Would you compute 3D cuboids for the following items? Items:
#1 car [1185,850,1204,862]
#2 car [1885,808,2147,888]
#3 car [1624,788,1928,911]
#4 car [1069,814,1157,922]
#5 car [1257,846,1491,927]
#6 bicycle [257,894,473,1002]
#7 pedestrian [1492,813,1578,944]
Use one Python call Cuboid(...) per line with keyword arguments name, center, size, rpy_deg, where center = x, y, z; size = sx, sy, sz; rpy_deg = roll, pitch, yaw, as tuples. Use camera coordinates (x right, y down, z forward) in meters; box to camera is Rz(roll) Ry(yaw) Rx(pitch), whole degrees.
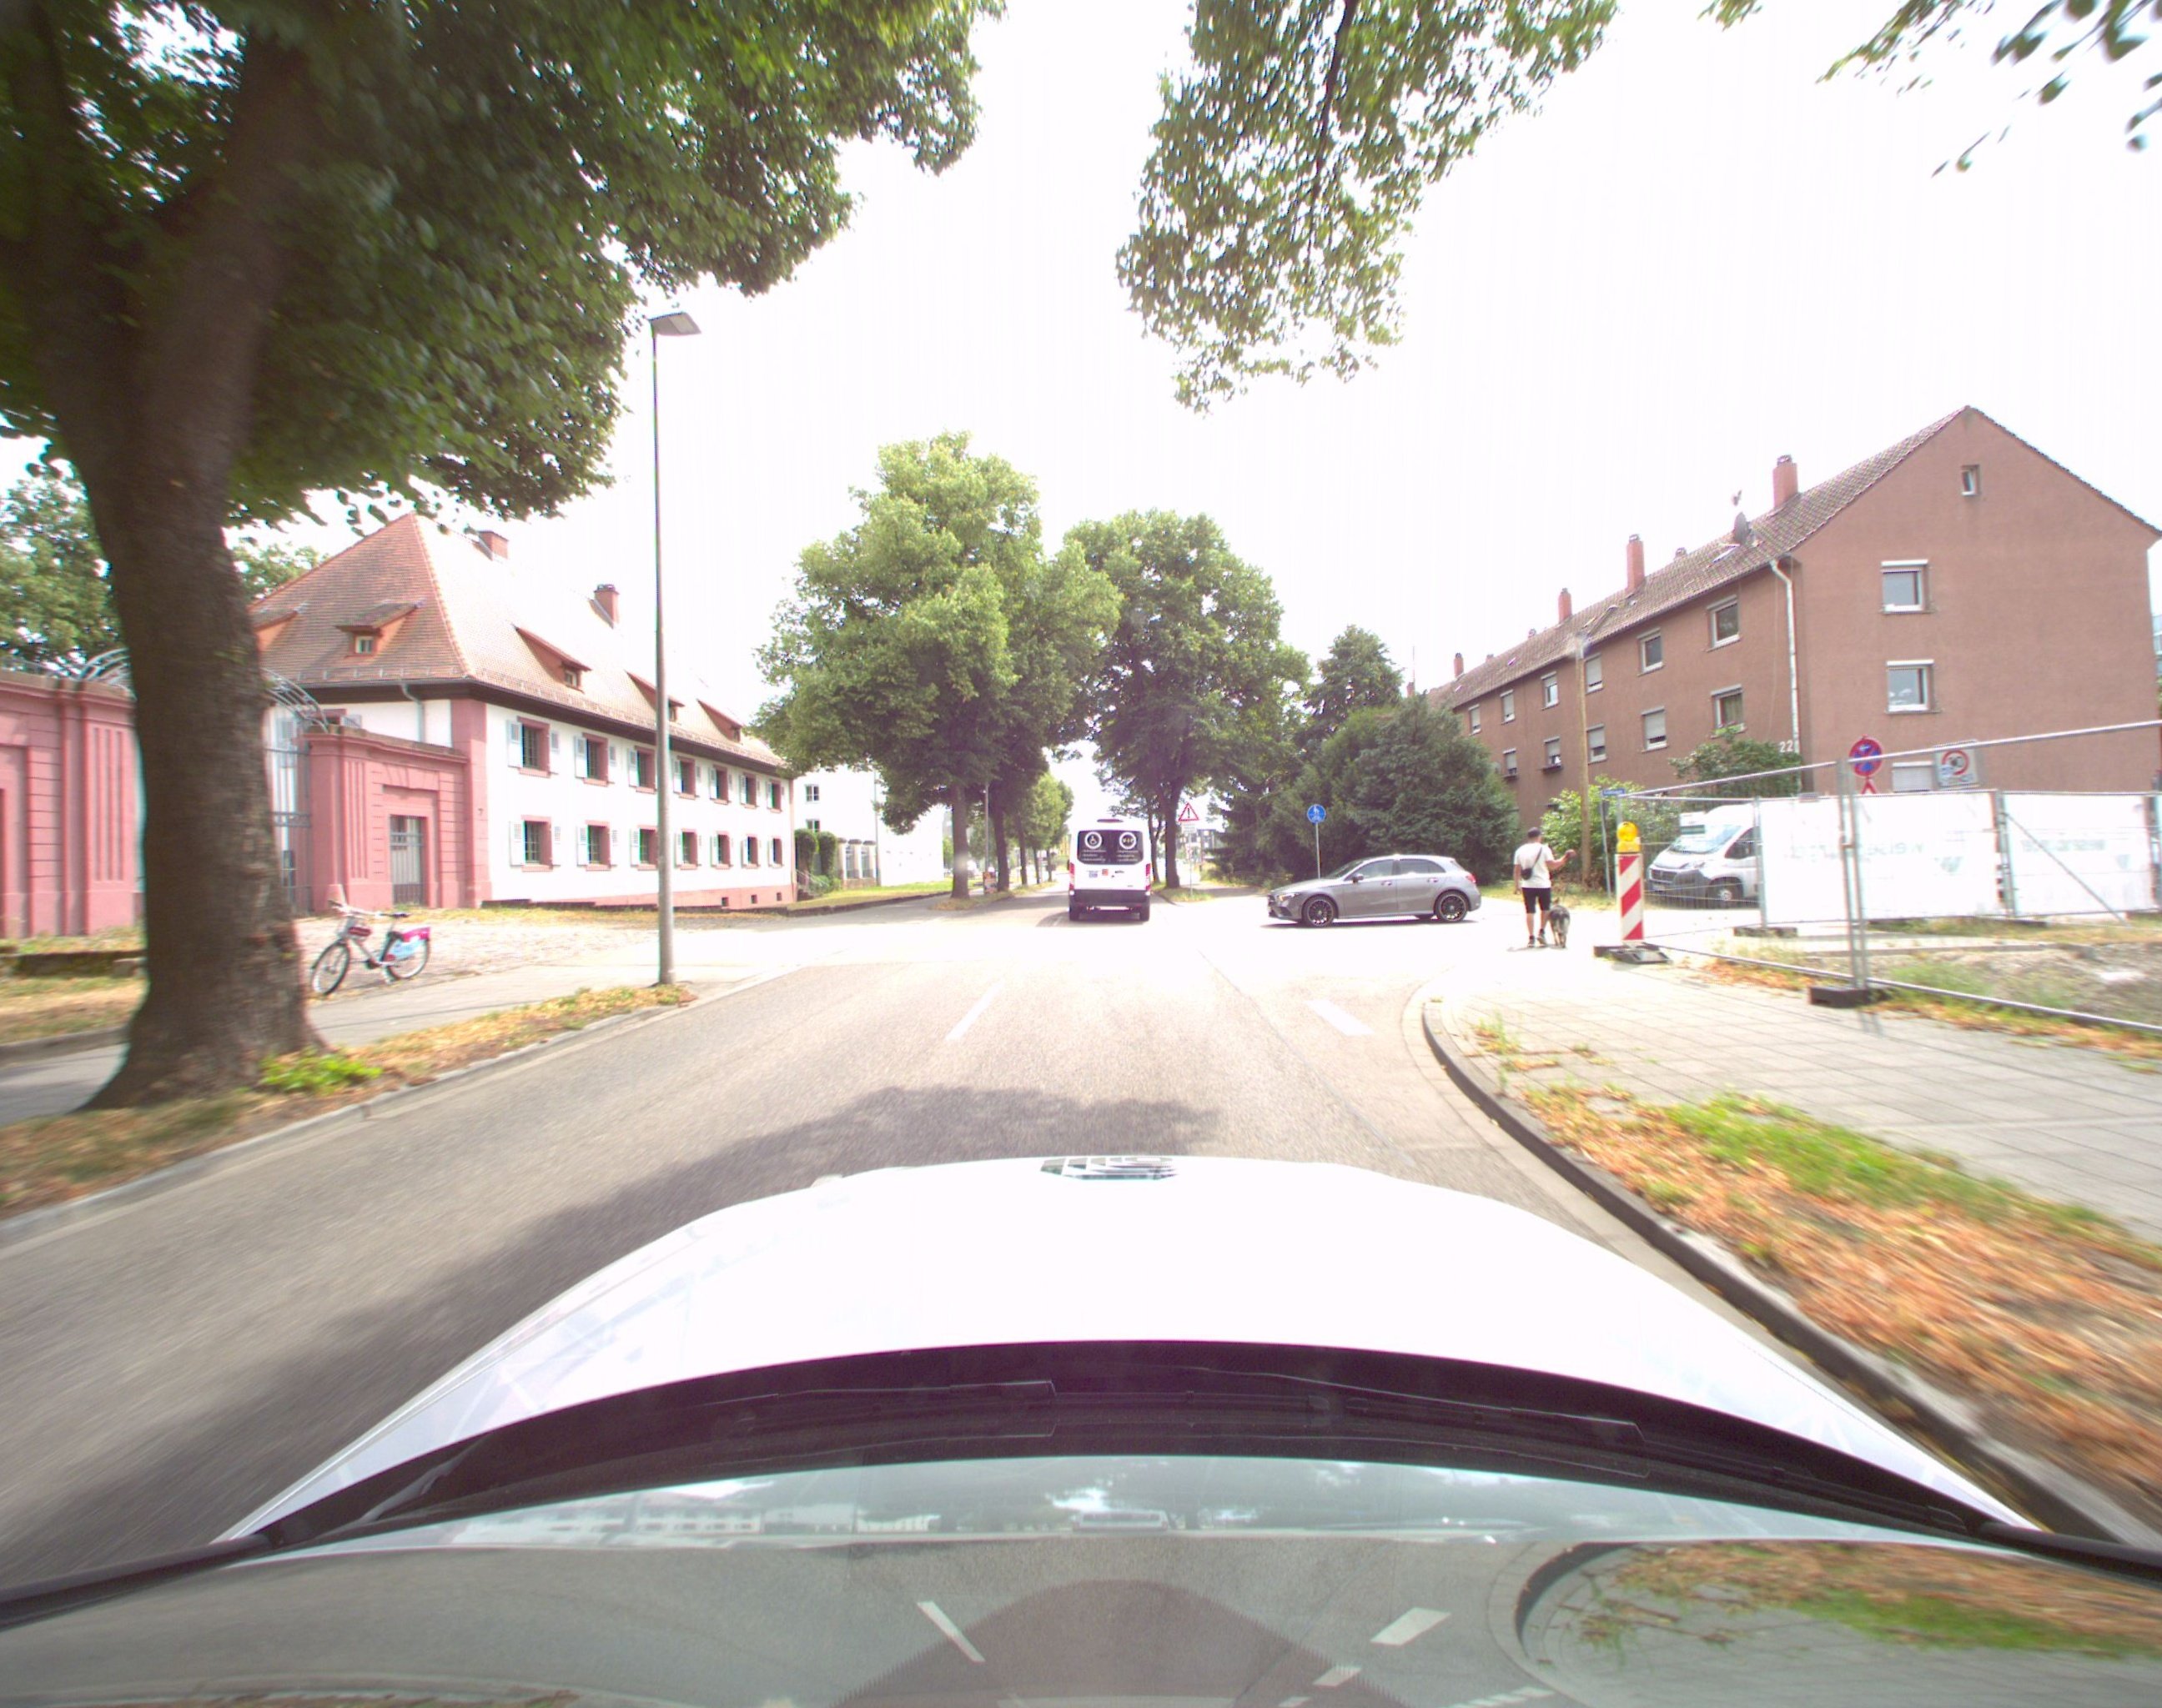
Cuboid(name="car", center=(21.012, 0.359, 151.062), size=(1.987, 1.816, 4.439), rpy_deg=(-4, -1, 28))
Cuboid(name="car", center=(23.037, -0.164, 20.202), size=(4.176, 1.719, 1.904), rpy_deg=(-3, 1, 3))
Cuboid(name="car", center=(17.052, -0.135, 20.263), size=(5.449, 2.632, 2.338), rpy_deg=(-3, 1, 3))
Cuboid(name="car", center=(0.729, 0.315, 21.151), size=(2.057, 2.539, 3.998), rpy_deg=(0, 0, -1))
Cuboid(name="car", center=(6.187, 0.708, 17.661), size=(4.353, 1.443, 2.012), rpy_deg=(-3, -2, 3))
Cuboid(name="bicycle", center=(-9.024, 1.126, 10.433), size=(0.720, 1.095, 2.226), rpy_deg=(2, 0, 2))
Cuboid(name="pedestrian", center=(6.639, 0.354, 11.965), size=(0.875, 1.814, 0.893), rpy_deg=(-4, -1, 21))
